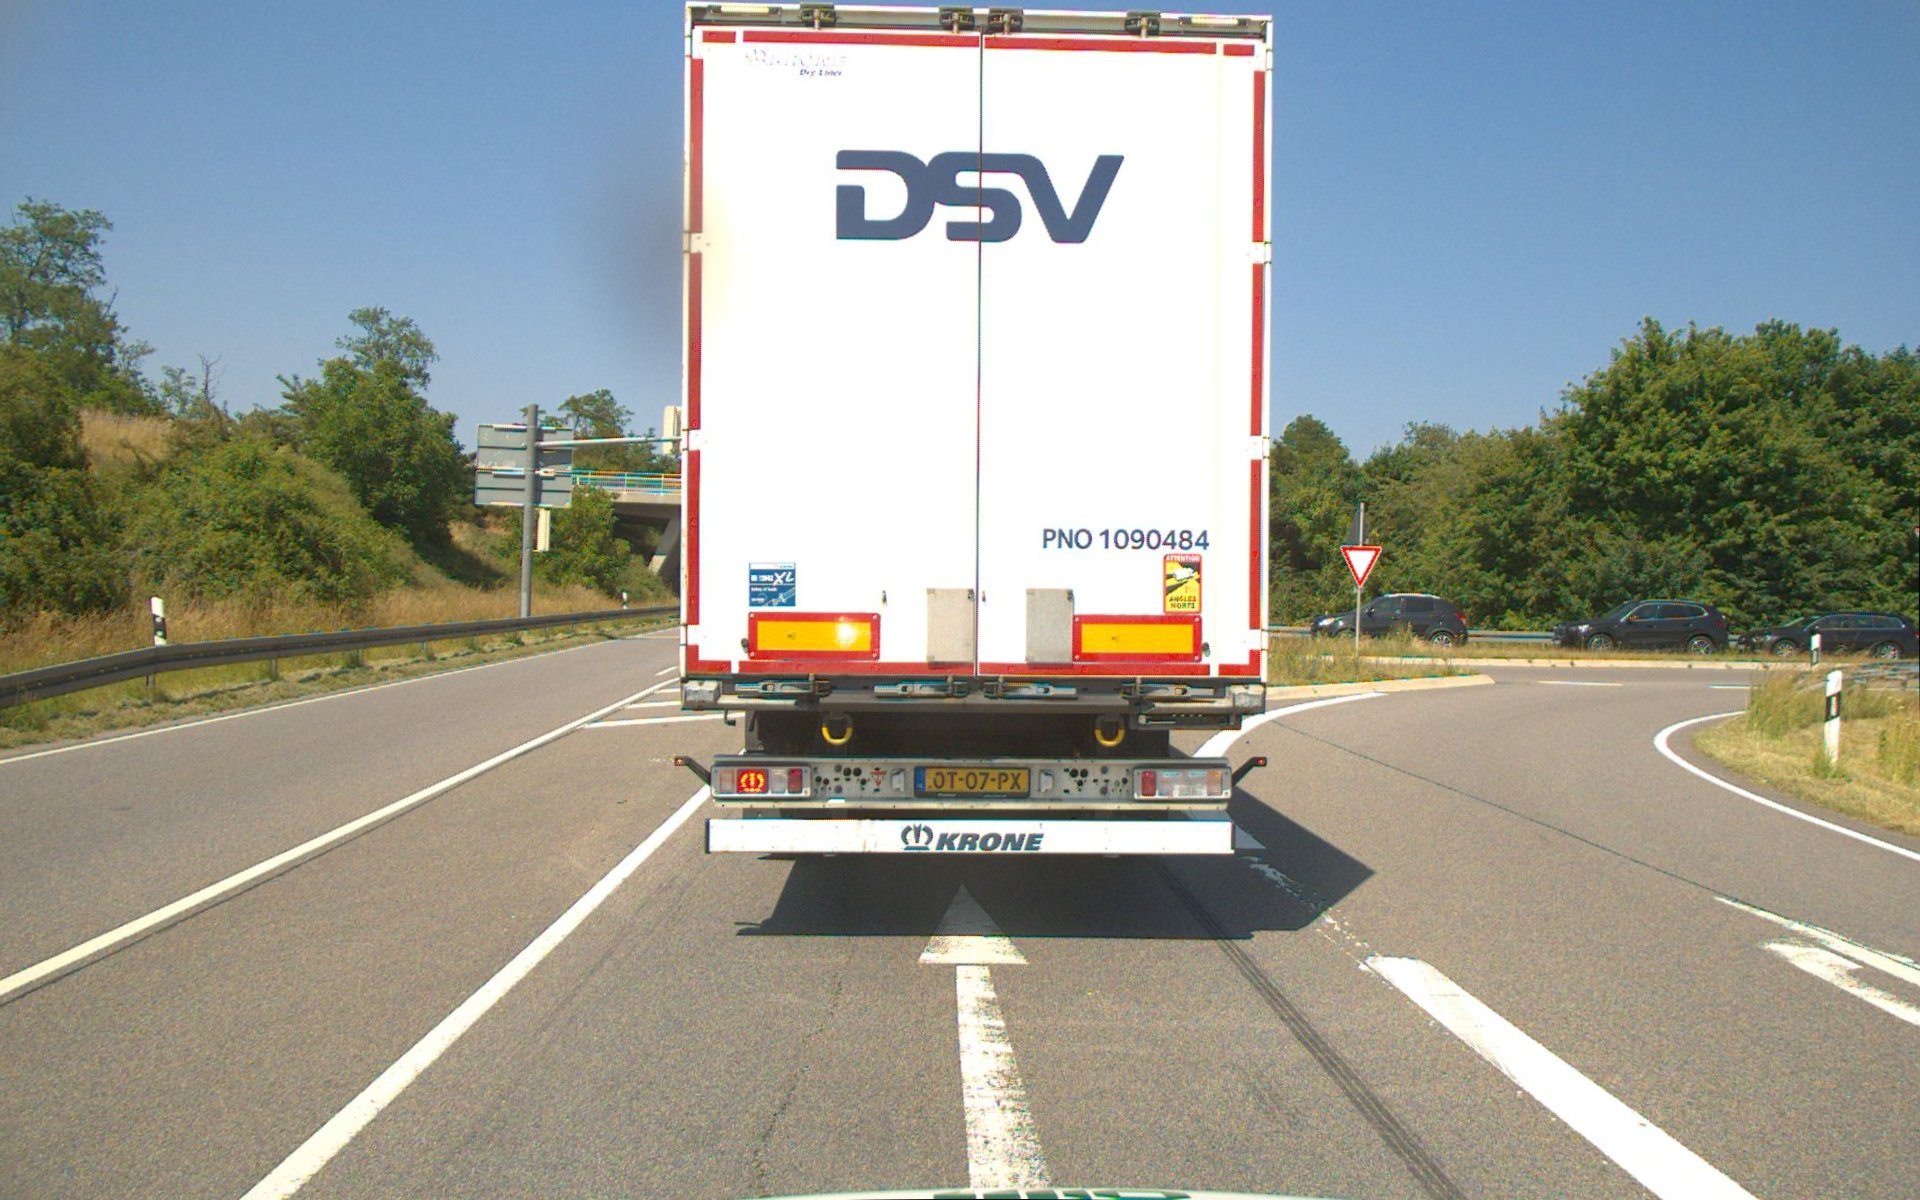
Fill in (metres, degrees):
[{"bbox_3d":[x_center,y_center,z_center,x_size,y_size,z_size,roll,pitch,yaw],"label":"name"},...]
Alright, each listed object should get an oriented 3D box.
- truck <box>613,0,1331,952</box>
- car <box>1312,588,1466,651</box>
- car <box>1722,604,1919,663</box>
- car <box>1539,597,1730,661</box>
[{"bbox_3d":[-0.056,-0.562,11.771,2.927,4.011,9.872,1,0,-1],"label":"truck"},{"bbox_3d":[11.952,0.547,46.255,3.901,1.669,1.842,1,-1,5],"label":"car"},{"bbox_3d":[23.823,0.900,45.796,4.583,1.540,1.854,1,-1,6],"label":"car"},{"bbox_3d":[18.025,0.766,44.311,4.393,1.626,1.768,1,-1,2],"label":"car"}]
